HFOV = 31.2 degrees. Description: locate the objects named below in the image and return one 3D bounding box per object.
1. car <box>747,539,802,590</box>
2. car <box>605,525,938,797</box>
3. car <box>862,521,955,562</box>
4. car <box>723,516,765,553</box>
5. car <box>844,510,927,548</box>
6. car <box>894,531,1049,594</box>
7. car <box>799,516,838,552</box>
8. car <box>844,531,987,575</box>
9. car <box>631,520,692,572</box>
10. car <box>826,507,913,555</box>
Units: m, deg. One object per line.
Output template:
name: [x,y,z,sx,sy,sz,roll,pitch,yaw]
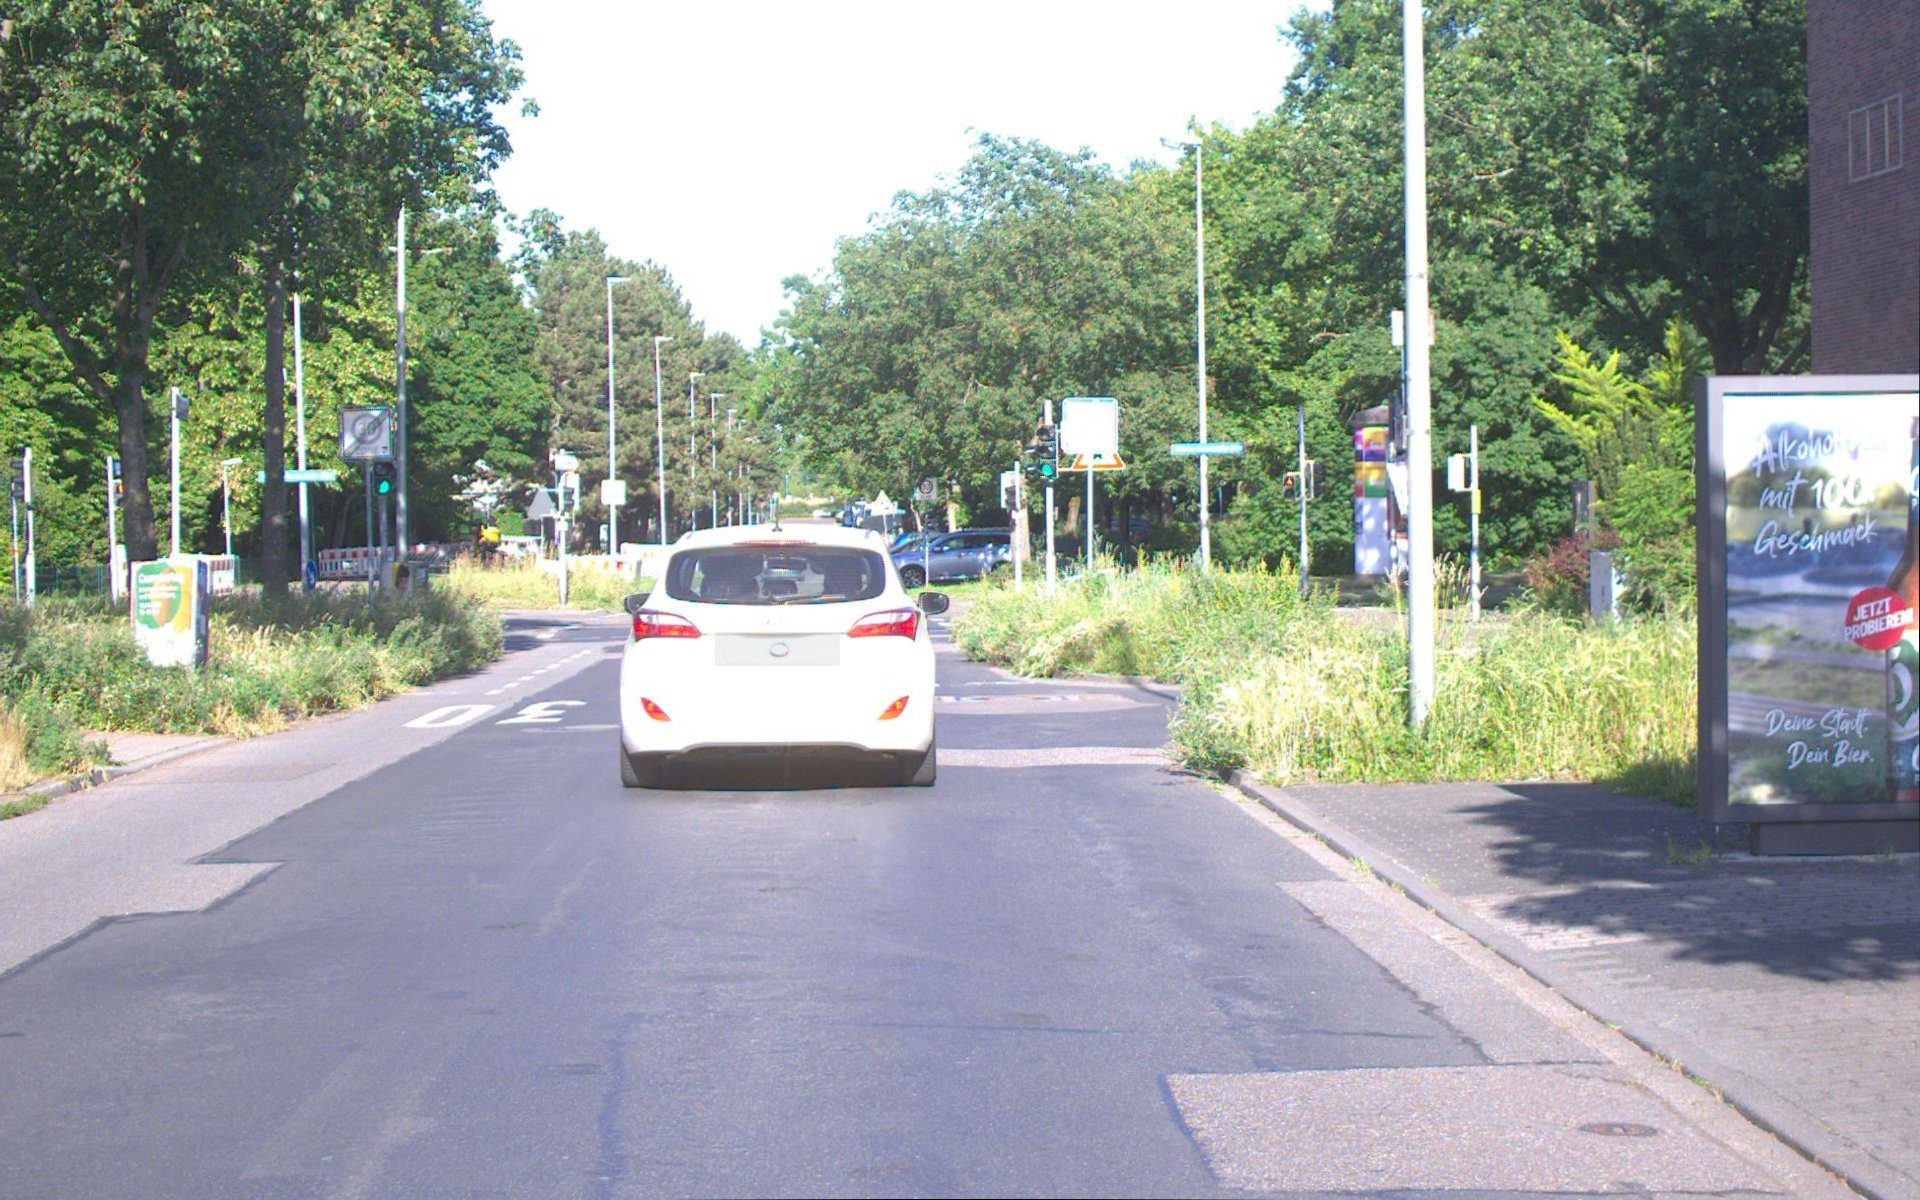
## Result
car: [-7.209,-1.385,133.887,1.993,1.809,4.001,2,2,-2]
car: [-1.092,0.286,20.501,1.789,1.458,3.964,0,1,-2]
car: [-2.168,-2.423,142.945,3.819,1.678,1.863,1,1,-2]
car: [-10.840,-3.304,173.036,1.993,1.809,4.001,0,1,-2]
car: [-3.900,-3.717,180.256,4.301,1.901,1.863,1,1,-2]
car: [0.331,-1.116,100.962,4.498,1.777,1.855,-1,1,0]
car: [-7.358,-3.440,179.462,1.993,1.809,4.000,1,1,-2]
car: [-1.799,-1.879,136.378,5.613,1.678,1.948,1,1,-2]
car: [-10.811,-1.969,124.771,1.993,1.809,4.001,1,2,-2]
car: [-4.033,-3.080,152.921,3.819,2.091,1.863,1,1,-2]
